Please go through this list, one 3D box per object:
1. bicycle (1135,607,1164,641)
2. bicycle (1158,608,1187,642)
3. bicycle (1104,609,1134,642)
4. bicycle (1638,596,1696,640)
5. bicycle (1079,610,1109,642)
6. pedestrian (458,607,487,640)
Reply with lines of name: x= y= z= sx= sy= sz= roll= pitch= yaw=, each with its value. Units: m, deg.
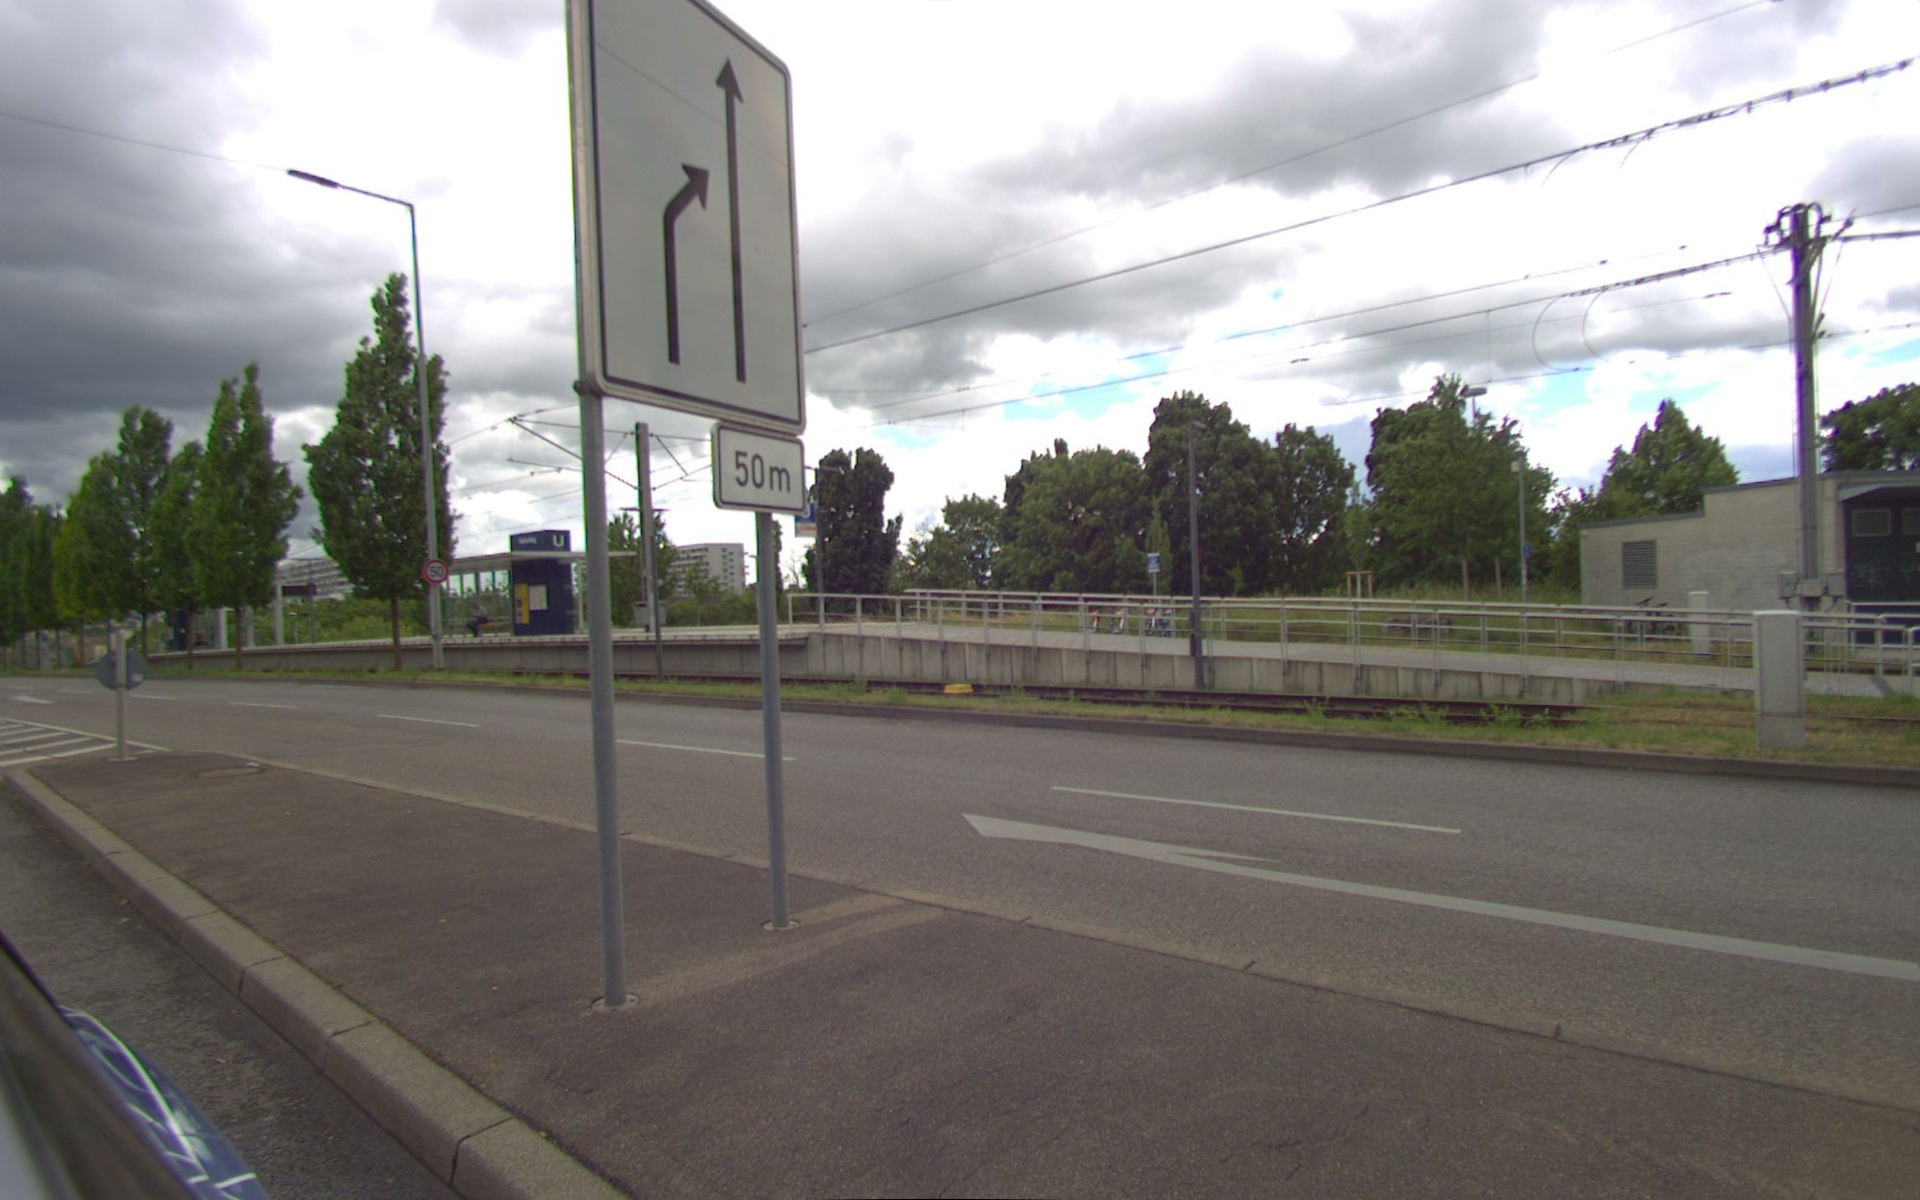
bicycle: x=6.372 y=0.806 z=33.948 sx=0.490 sy=1.095 sz=1.466 roll=-2 pitch=-1 yaw=30
bicycle: x=7.038 y=0.813 z=33.468 sx=0.490 sy=1.095 sz=1.466 roll=-2 pitch=-1 yaw=30
bicycle: x=5.432 y=0.864 z=34.459 sx=0.490 sy=1.095 sz=1.466 roll=-2 pitch=-1 yaw=30
bicycle: x=18.187 y=0.456 z=26.059 sx=0.486 sy=1.095 sz=1.480 roll=-1 pitch=-1 yaw=3
bicycle: x=4.675 y=0.898 z=35.161 sx=0.490 sy=1.095 sz=1.466 roll=-2 pitch=-1 yaw=30
pedestrian: x=-18.258 y=0.874 z=37.874 sx=0.781 sy=1.211 sz=0.656 roll=-2 pitch=-1 yaw=33
